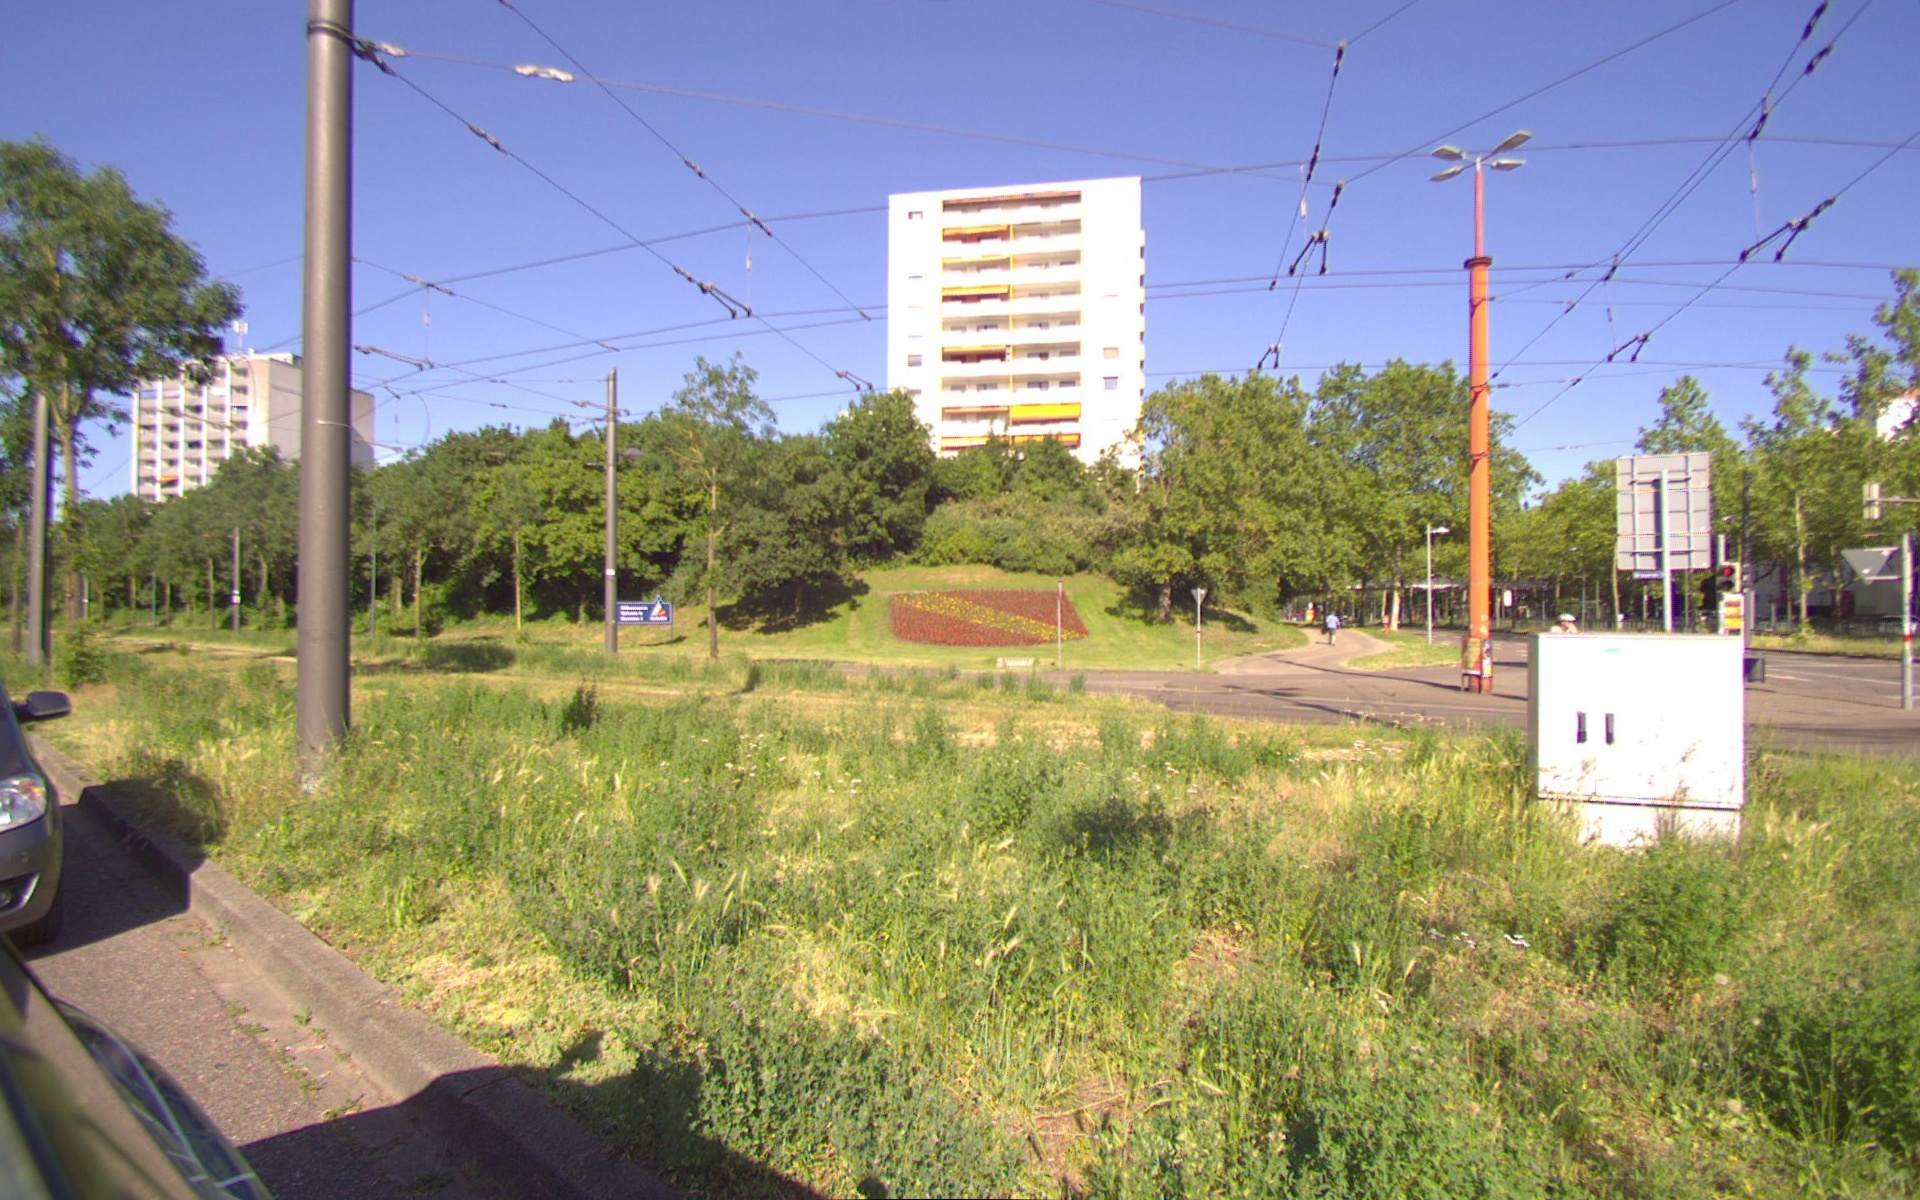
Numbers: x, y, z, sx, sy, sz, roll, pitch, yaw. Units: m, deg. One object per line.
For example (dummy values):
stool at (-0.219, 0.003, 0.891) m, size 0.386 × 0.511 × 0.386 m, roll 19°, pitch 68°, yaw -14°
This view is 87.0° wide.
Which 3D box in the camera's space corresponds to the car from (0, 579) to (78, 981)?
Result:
car at (-5.942, 0.750, 5.042) m, size 4.382 × 1.619 × 1.754 m, roll -1°, pitch -2°, yaw 41°

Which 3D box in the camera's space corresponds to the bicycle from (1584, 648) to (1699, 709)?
bicycle at (13.354, 1.517, 19.915) m, size 0.915 × 1.095 × 1.888 m, roll 0°, pitch -1°, yaw -2°

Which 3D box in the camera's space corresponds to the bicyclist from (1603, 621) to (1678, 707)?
bicyclist at (13.351, 1.237, 19.882) m, size 0.920 × 1.650 × 0.741 m, roll 0°, pitch -1°, yaw -1°

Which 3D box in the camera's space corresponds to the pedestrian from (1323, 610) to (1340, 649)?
pedestrian at (18.738, 1.472, 51.021) m, size 0.729 × 1.949 × 0.726 m, roll -1°, pitch -2°, yaw 24°

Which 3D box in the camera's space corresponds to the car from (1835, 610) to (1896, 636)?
car at (66.012, 1.697, 73.763) m, size 3.931 × 1.829 × 2.006 m, roll 1°, pitch -2°, yaw -27°

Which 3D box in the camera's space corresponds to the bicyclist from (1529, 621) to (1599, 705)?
bicyclist at (12.093, 1.254, 20.301) m, size 0.920 × 1.650 × 0.741 m, roll 0°, pitch -1°, yaw -1°

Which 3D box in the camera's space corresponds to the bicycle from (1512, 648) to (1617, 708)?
bicycle at (12.089, 1.532, 20.317) m, size 0.915 × 1.095 × 1.888 m, roll 0°, pitch -1°, yaw -2°

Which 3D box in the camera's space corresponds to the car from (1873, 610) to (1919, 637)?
car at (65.244, 1.641, 69.867) m, size 3.931 × 1.829 × 2.006 m, roll 1°, pitch -2°, yaw -27°

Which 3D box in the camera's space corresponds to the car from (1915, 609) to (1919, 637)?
car at (64.402, 1.504, 65.904) m, size 3.931 × 1.829 × 2.006 m, roll 1°, pitch -2°, yaw -27°
